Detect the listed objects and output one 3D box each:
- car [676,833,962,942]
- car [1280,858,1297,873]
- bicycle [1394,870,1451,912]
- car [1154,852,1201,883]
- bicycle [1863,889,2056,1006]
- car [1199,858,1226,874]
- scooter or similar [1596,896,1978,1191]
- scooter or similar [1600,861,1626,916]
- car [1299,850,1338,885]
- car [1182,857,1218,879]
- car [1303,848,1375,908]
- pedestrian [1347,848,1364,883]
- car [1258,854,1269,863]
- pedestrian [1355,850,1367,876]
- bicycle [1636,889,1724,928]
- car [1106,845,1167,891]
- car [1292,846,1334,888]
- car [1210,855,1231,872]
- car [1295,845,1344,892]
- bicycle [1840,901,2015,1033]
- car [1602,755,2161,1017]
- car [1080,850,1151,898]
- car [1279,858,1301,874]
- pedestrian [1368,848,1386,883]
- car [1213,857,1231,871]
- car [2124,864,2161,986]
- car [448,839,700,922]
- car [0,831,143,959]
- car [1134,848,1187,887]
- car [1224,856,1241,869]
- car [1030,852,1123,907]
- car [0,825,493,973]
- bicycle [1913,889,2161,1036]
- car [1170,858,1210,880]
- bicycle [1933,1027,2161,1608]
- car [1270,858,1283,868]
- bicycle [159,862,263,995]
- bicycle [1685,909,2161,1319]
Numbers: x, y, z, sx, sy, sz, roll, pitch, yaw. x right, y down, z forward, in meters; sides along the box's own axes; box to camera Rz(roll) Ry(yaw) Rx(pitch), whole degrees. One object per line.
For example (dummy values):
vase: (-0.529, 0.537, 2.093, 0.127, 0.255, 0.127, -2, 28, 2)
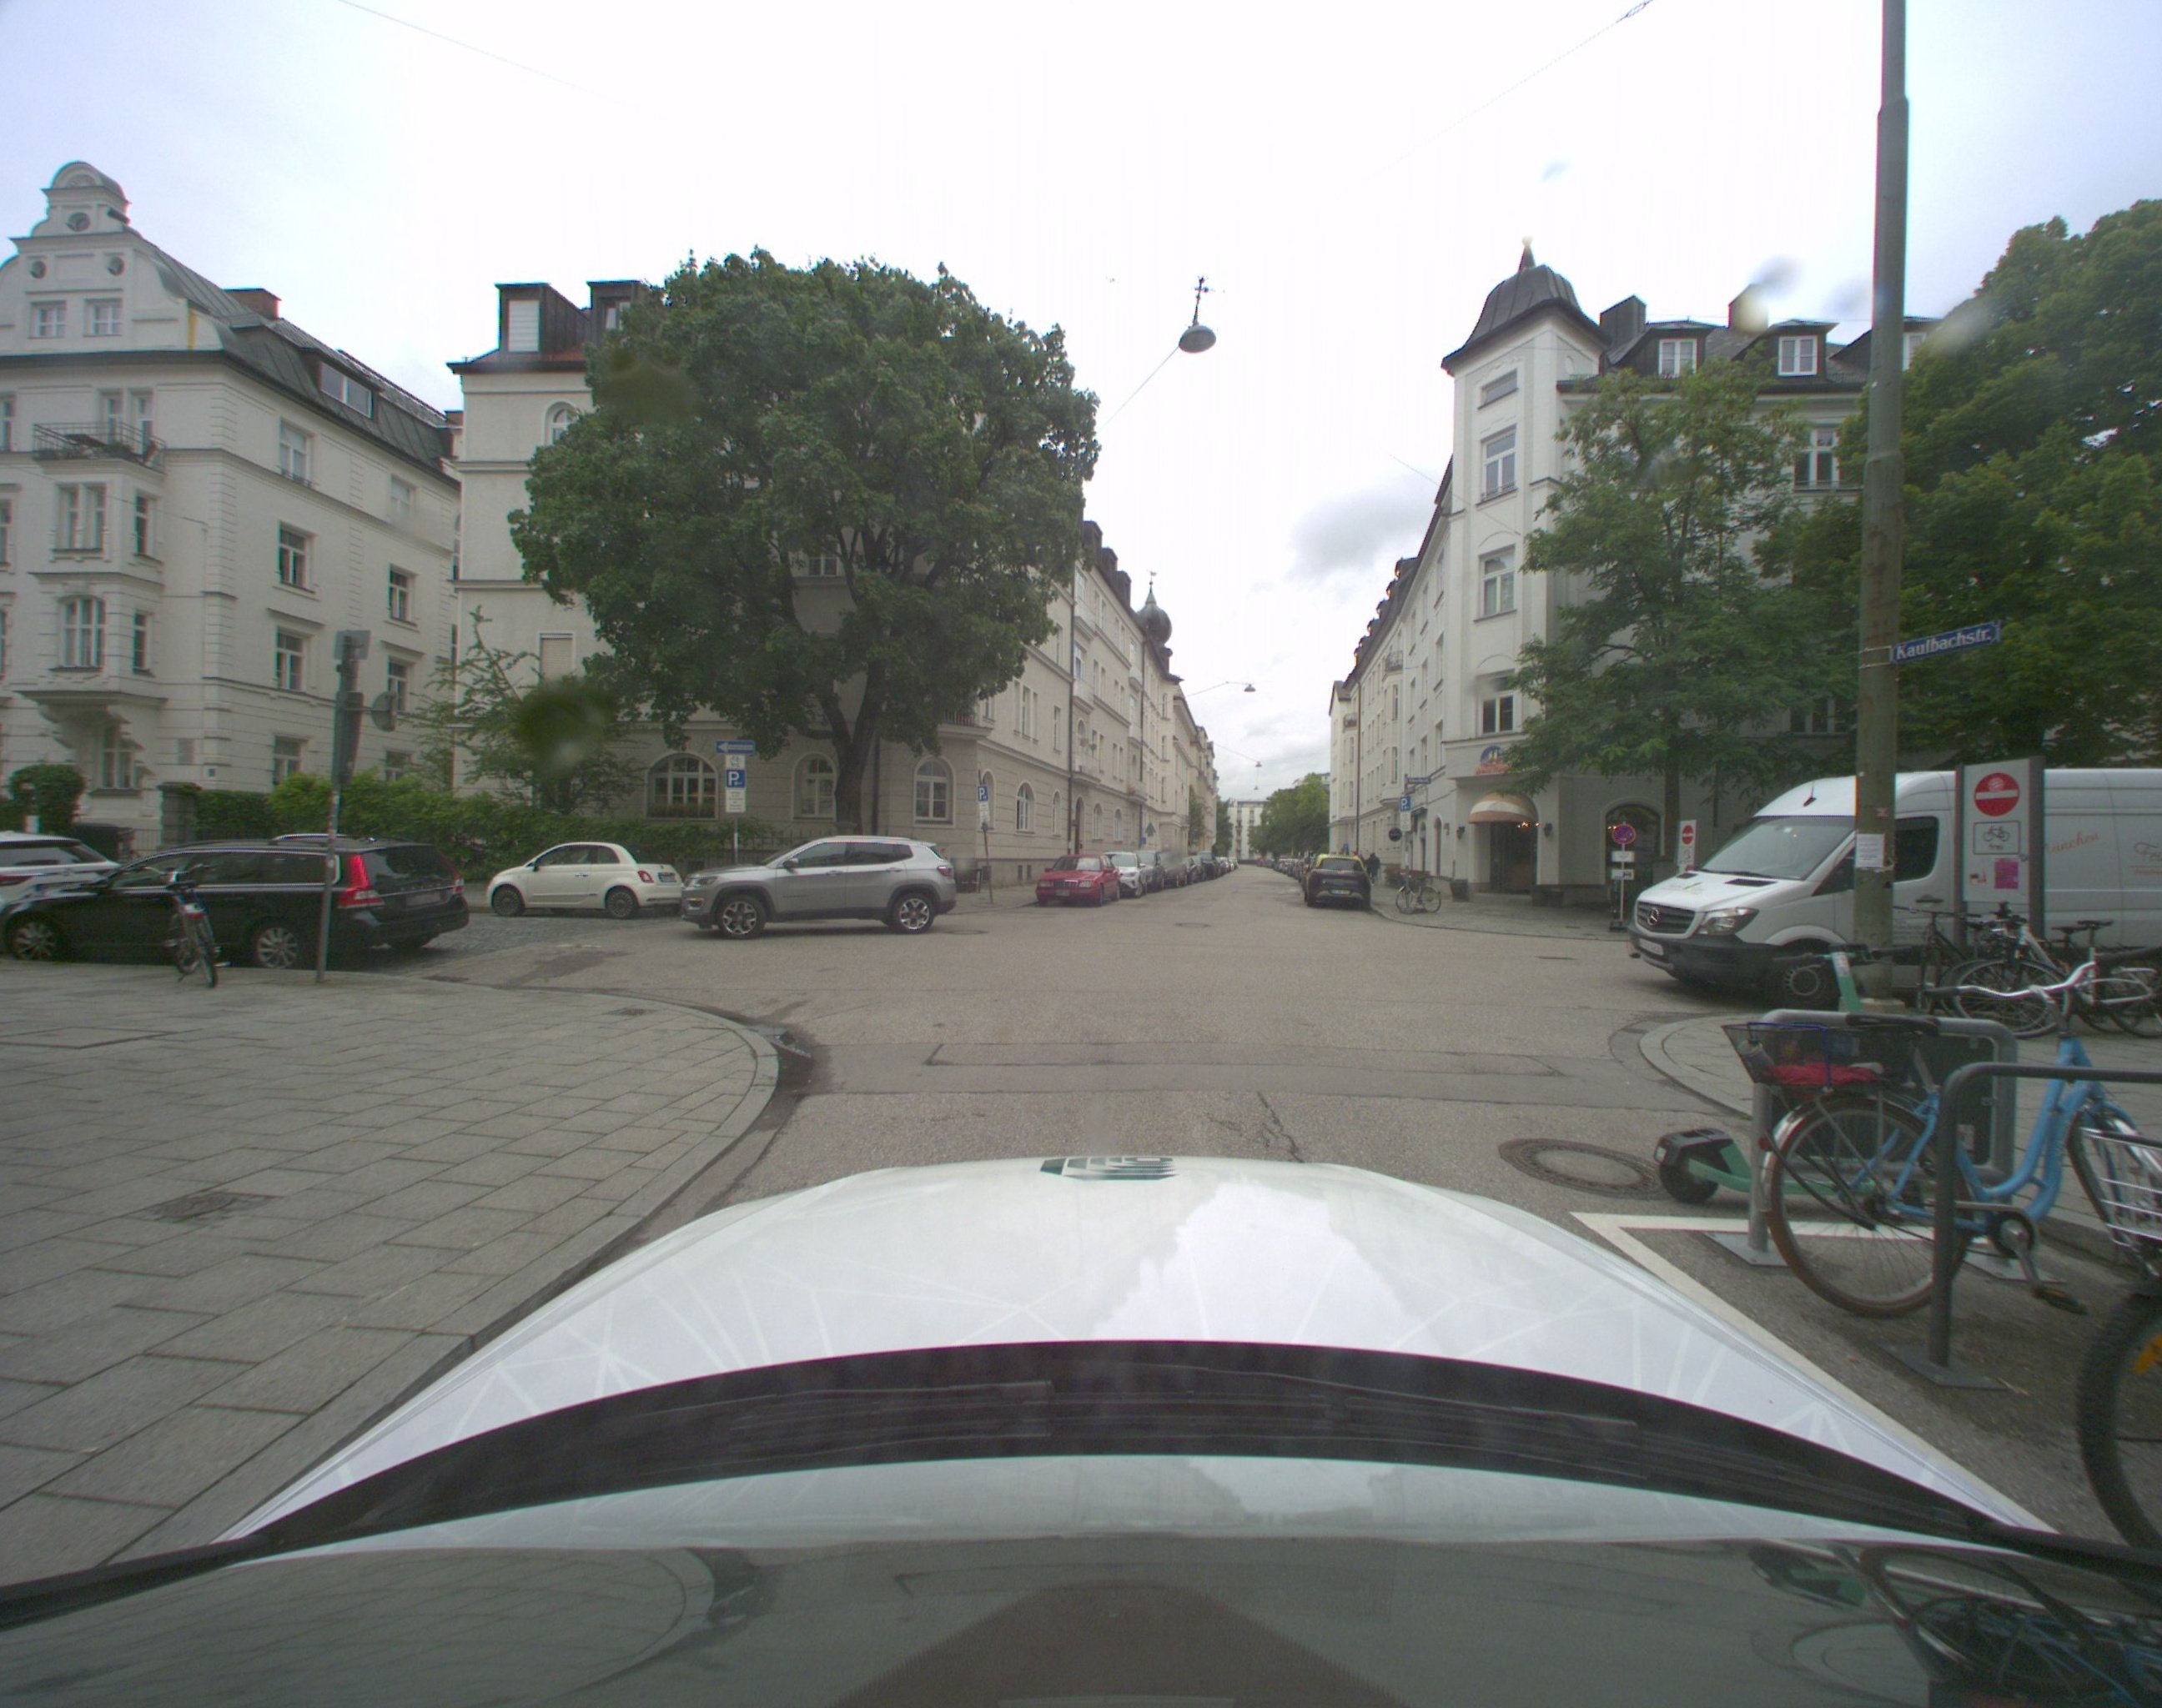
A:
car: (-4.369, 0.498, 13.755, 4.314, 1.607, 1.948, 0, 0, -24)
car: (28.173, 1.531, 110.854, 1.980, 1.982, 4.909, 1, 0, 12)
bicycle: (9.165, 0.972, 21.920, 0.539, 0.999, 1.750, -2, 1, -10)
car: (5.191, 0.690, 43.428, 1.912, 1.546, 4.015, 1, 0, 14)
bicycle: (8.507, 0.894, 7.906, 1.498, 1.071, 0.370, 1, 0, -1)
car: (10.553, 0.948, 65.255, 1.893, 1.222, 4.014, 1, 0, 12)
scooter or similar: (3.156, 0.822, 3.699, 1.347, 1.210, 0.418, 1, 0, 1)
scooter or similar: (13.290, 0.843, 20.341, 0.423, 1.279, 1.287, 2, 2, 38)
car: (13.370, 0.711, 45.898, 1.979, 1.856, 4.363, 1, 0, 15)
car: (7.908, 0.877, 53.862, 1.893, 1.329, 4.015, 1, 0, 14)
car: (8.129, 0.700, 25.969, 1.807, 1.636, 4.304, 3, 1, 14)
pedestrian: (14.764, 0.618, 43.892, 0.772, 1.851, 1.027, 1, 0, 14)
car: (39.610, 0.937, 176.556, 1.981, 1.982, 4.906, 1, 0, 10)
pedestrian: (20.270, 0.676, 58.884, 0.771, 1.851, 0.864, 1, 0, 21)
bicycle: (12.676, 1.145, 17.278, 1.401, 0.783, 0.547, 0, -1, 22)
car: (2.282, 0.517, 32.516, 1.981, 1.676, 4.024, 1, 0, 10)
car: (11.794, 0.642, 41.570, 1.807, 1.923, 4.199, 3, 0, 14)
car: (13.162, 0.872, 76.580, 1.809, 1.574, 4.012, 1, 0, 11)
car: (10.494, 0.601, 36.046, 1.807, 1.870, 4.304, 3, 0, 14)
bicycle: (7.783, 1.025, 7.513, 1.172, 1.127, 0.340, 1, 0, 6)
car: (9.614, 0.295, 9.297, 5.866, 2.591, 2.063, 1, 1, 4)
car: (1.267, 0.631, 27.790, 1.982, 1.473, 4.228, 1, 0, 8)
car: (21.203, 1.185, 82.801, 1.894, 1.576, 4.012, 1, 0, 11)
pedestrian: (15.668, 0.609, 43.168, 0.772, 1.851, 1.027, 1, 0, 14)
car: (14.317, 0.994, 82.447, 1.723, 1.419, 4.012, 1, 0, 10)
car: (14.968, 0.922, 9.174, 3.971, 1.447, 1.797, 1, 2, 2)
car: (-9.948, 0.486, 16.140, 3.968, 1.449, 1.688, 1, 0, 5)
car: (-15.243, 0.461, 10.547, 4.235, 1.507, 1.685, 1, 2, 1)
car: (3.689, 0.580, 37.141, 1.981, 1.676, 4.302, 1, 0, 11)
car: (19.189, 1.077, 103.143, 1.981, 1.574, 4.012, 1, 0, 11)
car: (-0.020, 0.650, 22.894, 1.719, 1.378, 4.240, 1, 0, 12)
car: (-10.204, 0.472, 10.176, 4.317, 1.515, 1.905, 1, 4, 2)
bicycle: (8.343, 0.896, 6.898, 1.892, 1.127, 0.593, 1, 0, 4)
car: (6.630, 0.873, 49.225, 1.893, 1.222, 4.015, 1, 0, 14)
bicycle: (2.867, 0.985, 1.890, 1.450, 1.069, 0.462, 1, 0, -8)
car: (33.041, 1.507, 137.791, 1.937, 1.652, 4.012, 0, 0, 11)
bicycle: (-8.776, 0.690, 8.196, 1.811, 1.169, 0.613, 1, -2, 41)
bicycle: (3.054, 0.870, 2.901, 1.451, 1.285, 0.445, 1, 0, 1)
